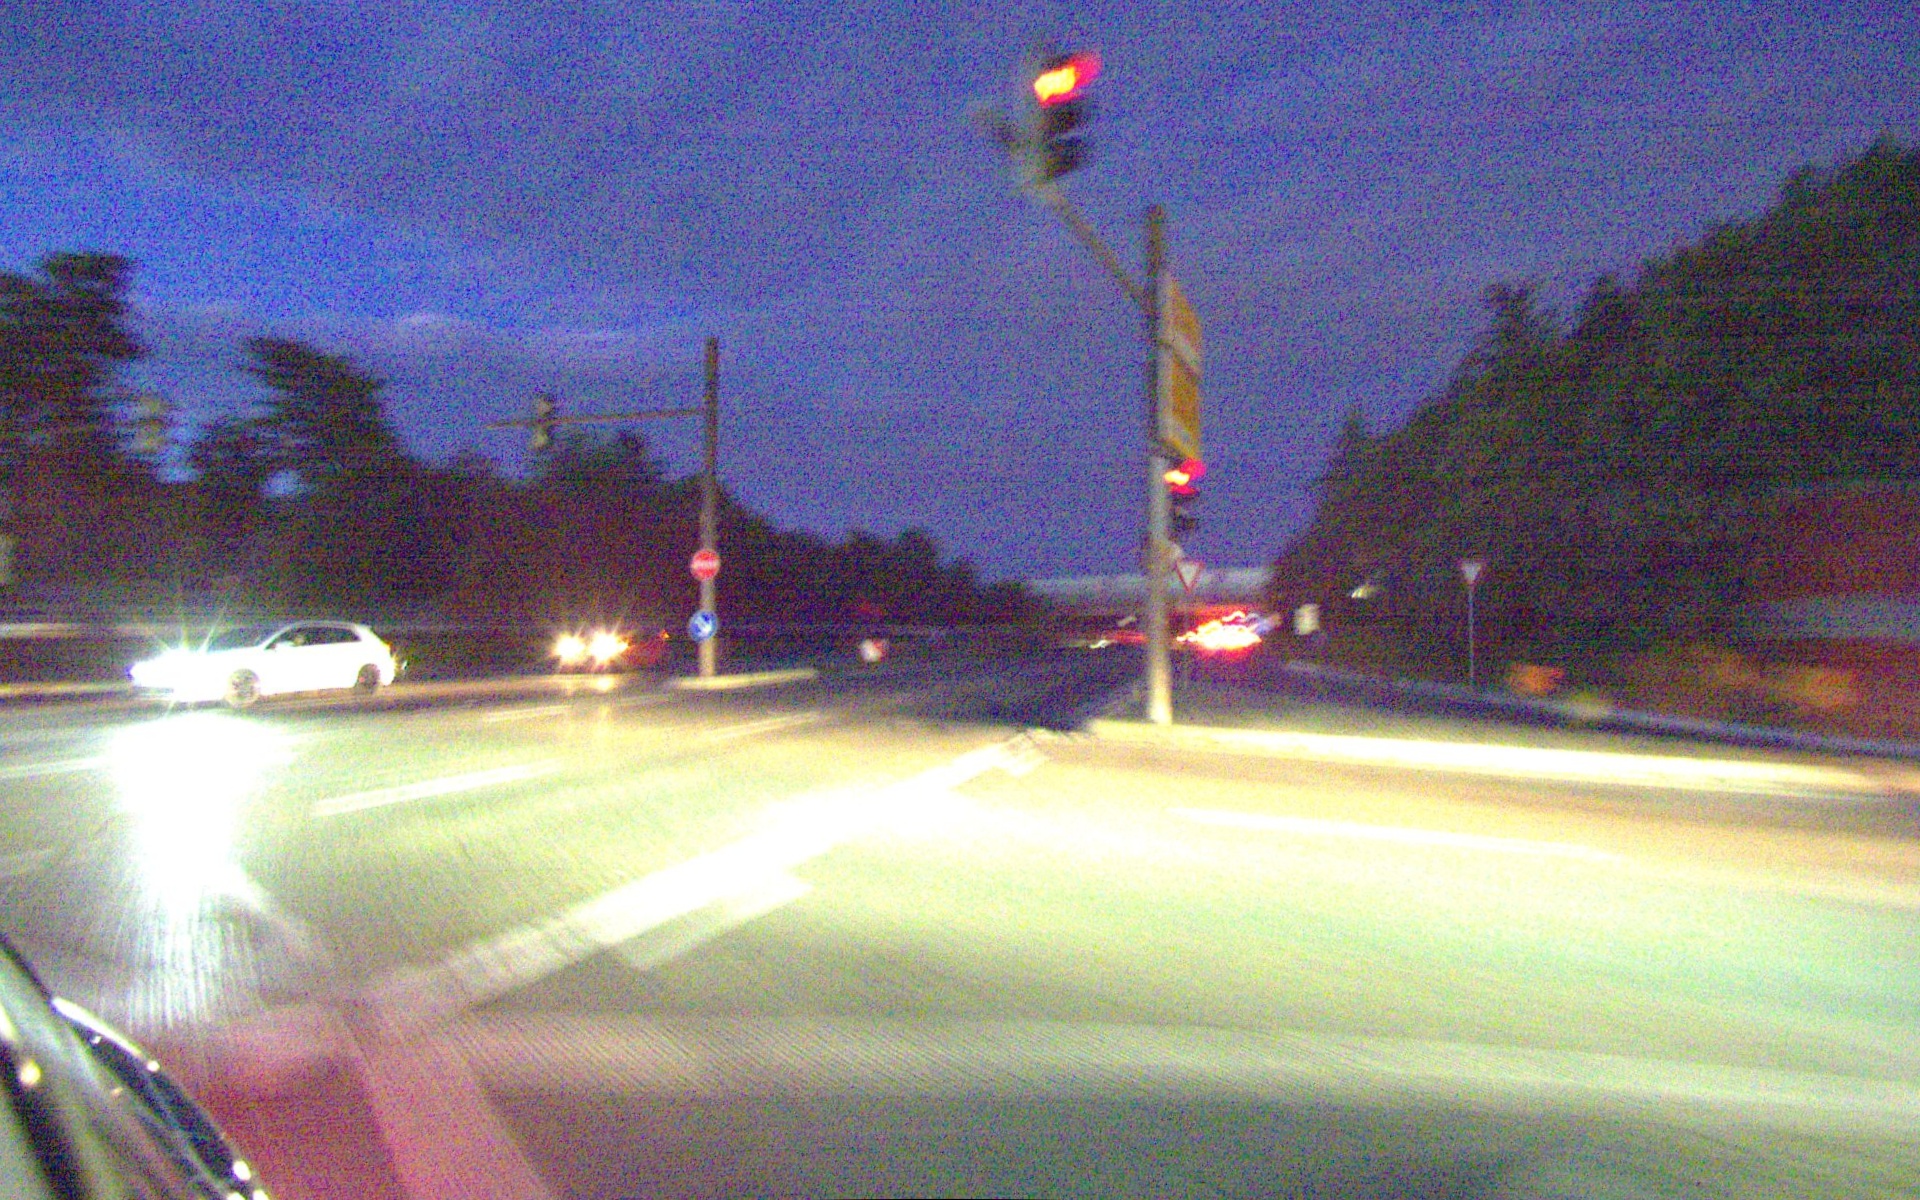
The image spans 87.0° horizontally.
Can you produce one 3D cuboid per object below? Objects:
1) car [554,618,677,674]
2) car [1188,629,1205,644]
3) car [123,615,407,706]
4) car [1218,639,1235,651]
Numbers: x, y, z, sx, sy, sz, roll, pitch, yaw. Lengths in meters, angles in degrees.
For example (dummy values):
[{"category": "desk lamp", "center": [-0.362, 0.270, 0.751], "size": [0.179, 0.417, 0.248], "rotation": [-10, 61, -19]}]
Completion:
[{"category": "car", "center": [-9.756, 1.300, 28.875], "size": [1.643, 1.462, 3.471], "rotation": [-2, -3, 16]}, {"category": "car", "center": [25.046, 3.894, 107.208], "size": [1.537, 1.531, 3.496], "rotation": [1, -2, 16]}, {"category": "car", "center": [-12.491, 1.072, 18.547], "size": [1.747, 1.470, 4.172], "rotation": [-2, -3, 15]}, {"category": "car", "center": [36.689, 6.162, 139.197], "size": [1.945, 1.498, 4.668], "rotation": [1, -2, 19]}]
